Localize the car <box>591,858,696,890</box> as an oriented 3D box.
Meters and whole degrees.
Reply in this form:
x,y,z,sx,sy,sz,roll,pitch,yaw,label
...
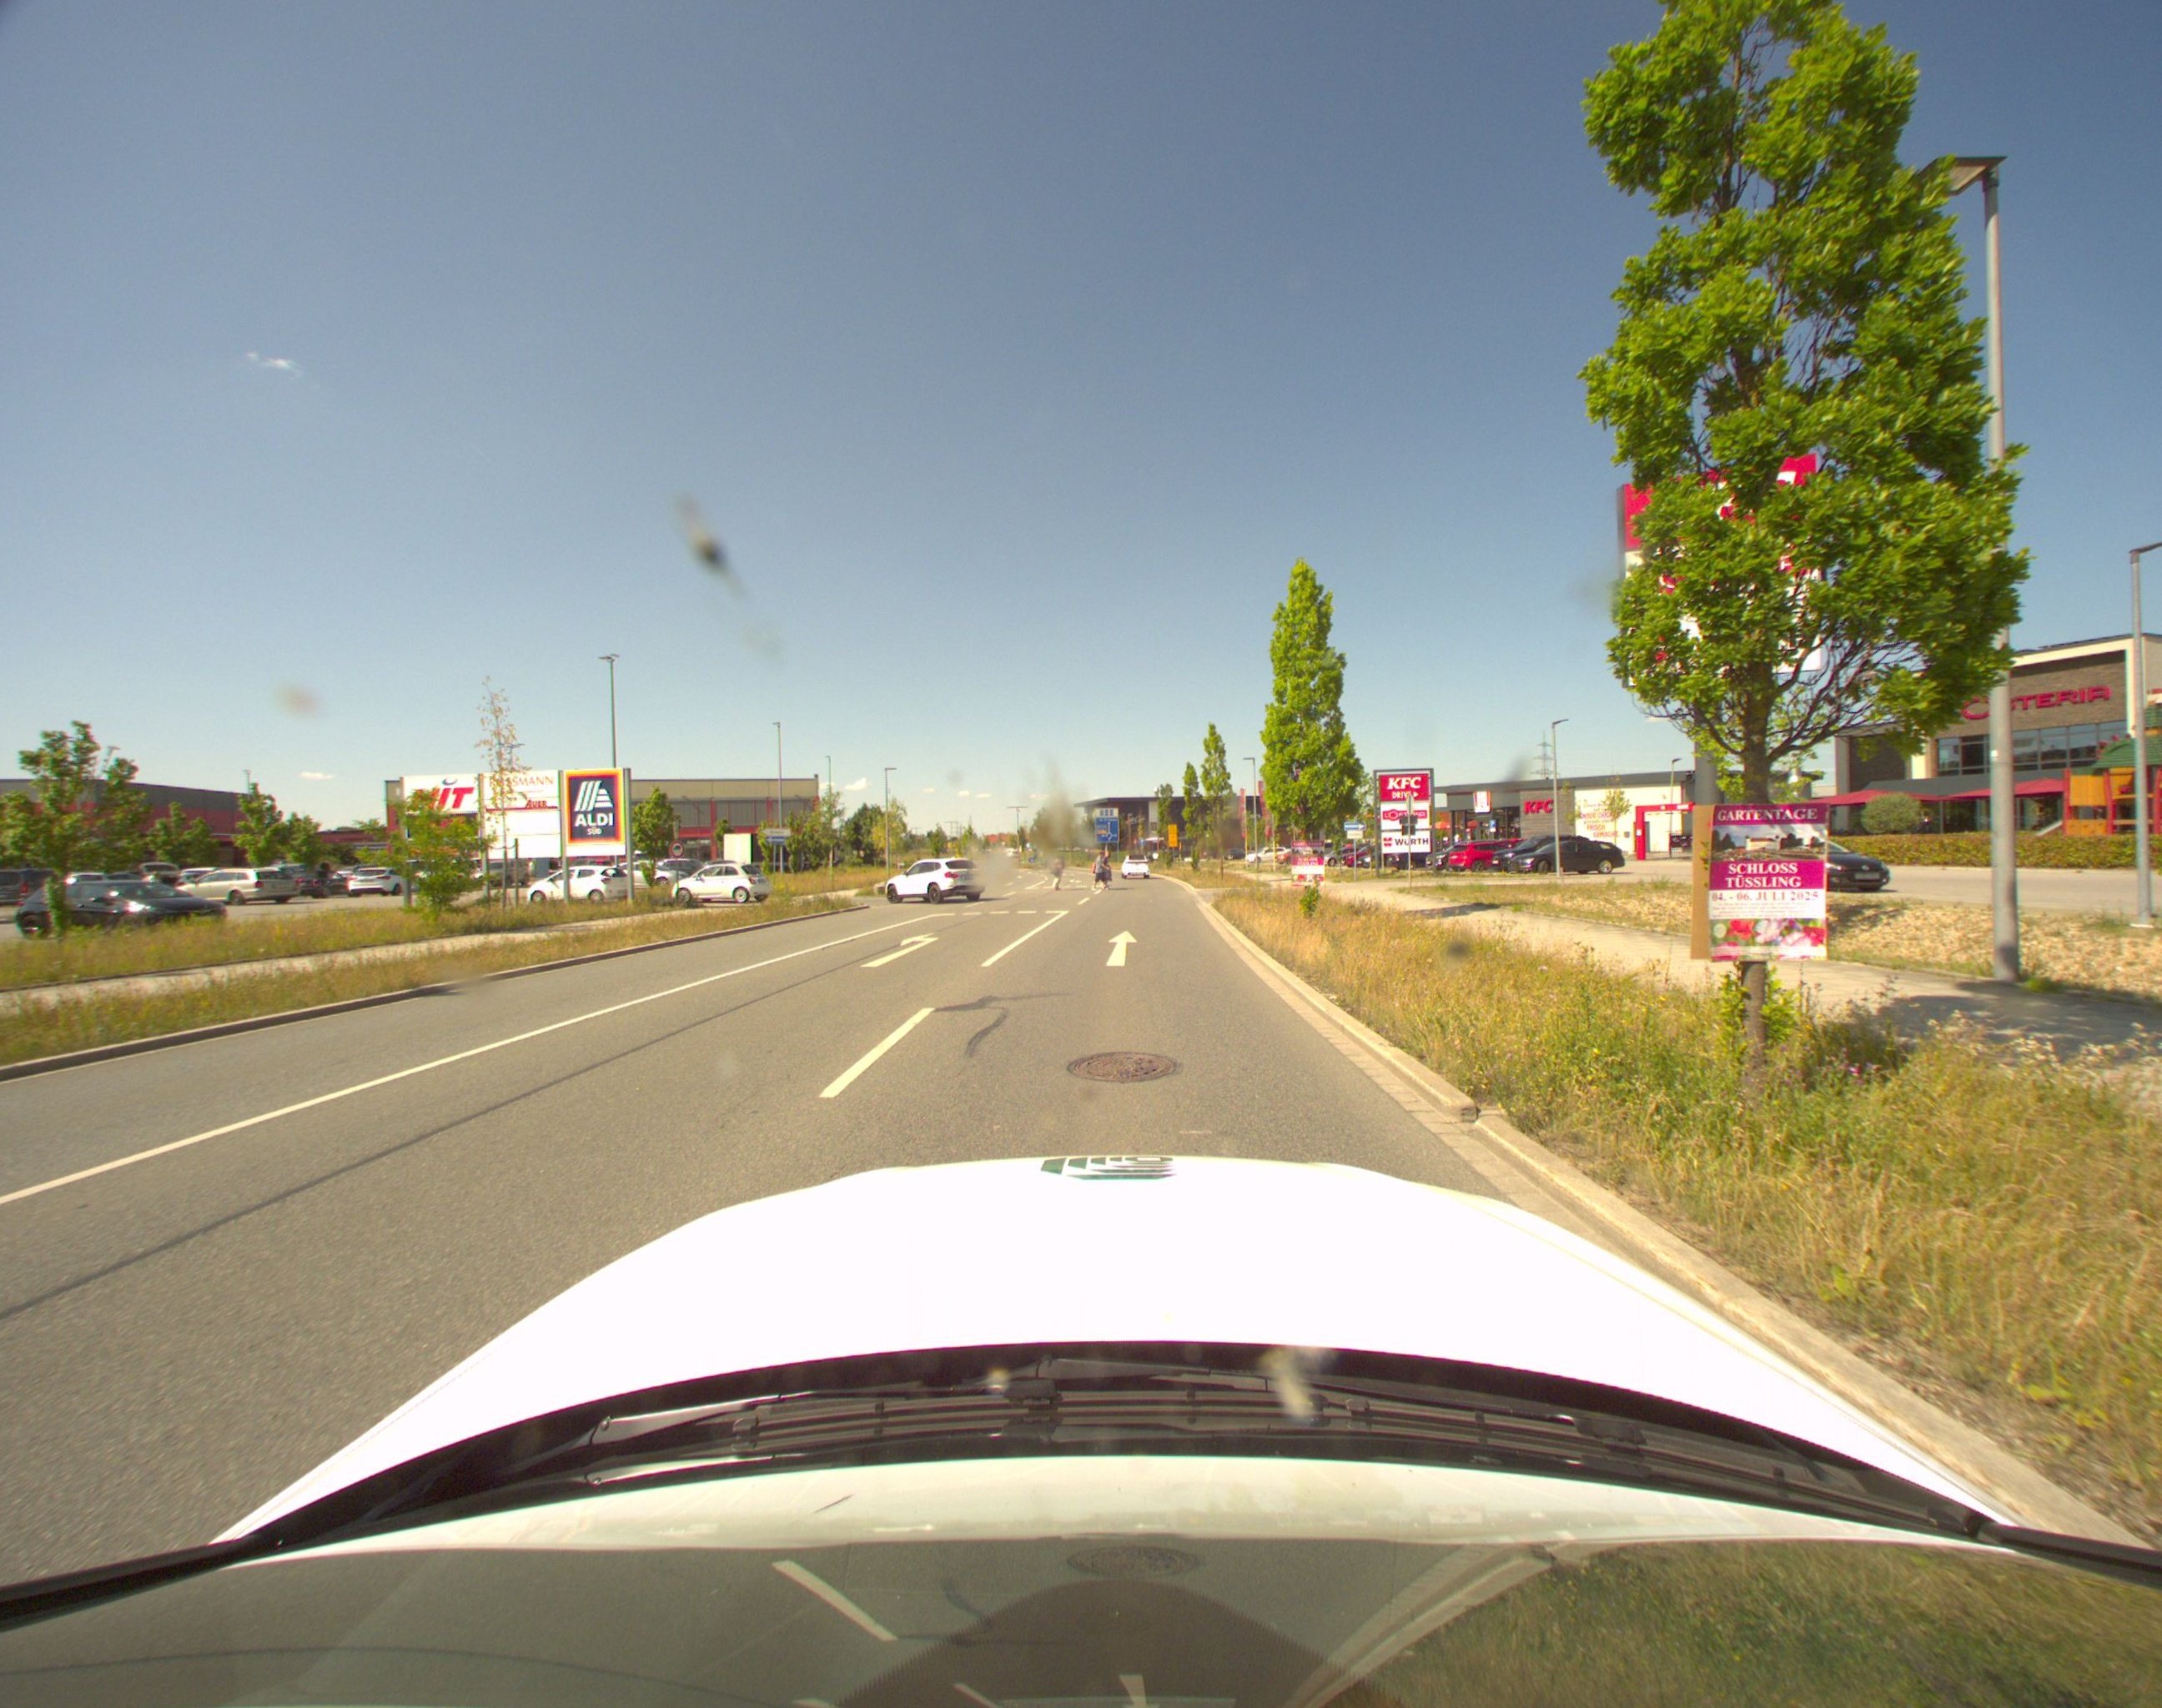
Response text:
x,y,z,sx,sy,sz,roll,pitch,yaw,label
-23.651,1.065,44.184,4.596,1.512,1.836,-2,0,-3,car

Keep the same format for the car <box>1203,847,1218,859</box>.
x,y,z,sx,sy,sz,roll,pitch,yaw,label
18.637,-0.157,116.981,1.780,1.604,4.014,-2,0,13,car

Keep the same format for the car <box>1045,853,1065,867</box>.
x,y,z,sx,sy,sz,roll,pitch,yaw,label
-2.899,0.675,88.757,1.617,1.434,3.778,-2,0,-11,car

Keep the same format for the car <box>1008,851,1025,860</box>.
x,y,z,sx,sy,sz,roll,pitch,yaw,label
-12.560,0.288,159.869,1.978,1.464,4.018,-2,0,17,car

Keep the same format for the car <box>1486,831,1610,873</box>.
x,y,z,sx,sy,sz,roll,pitch,yaw,label
22.590,-0.107,39.501,4.970,1.734,1.938,-3,1,-3,car

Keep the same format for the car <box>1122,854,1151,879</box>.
x,y,z,sx,sy,sz,roll,pitch,yaw,label
3.325,0.720,48.992,1.609,1.434,3.796,-2,0,4,car

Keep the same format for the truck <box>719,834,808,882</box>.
x,y,z,sx,sy,sz,roll,pitch,yaw,label
-24.512,0.278,63.323,2.299,3.464,7.526,-2,0,16,truck

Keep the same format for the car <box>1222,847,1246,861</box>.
x,y,z,sx,sy,sz,roll,pitch,yaw,label
17.428,-0.018,92.735,1.682,1.462,4.193,-2,0,25,car

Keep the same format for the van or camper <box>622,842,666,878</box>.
x,y,z,sx,sy,sz,roll,pitch,yaw,label
-42.400,0.542,79.210,2.436,3.271,7.191,-2,0,-18,van or camper

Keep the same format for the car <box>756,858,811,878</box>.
x,y,z,sx,sy,sz,roll,pitch,yaw,label
-26.228,1.216,71.964,4.373,1.552,1.829,-2,0,-14,car

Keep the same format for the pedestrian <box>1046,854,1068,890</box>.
x,y,z,sx,sy,sz,roll,pitch,yaw,label
-0.994,0.756,34.057,0.789,1.470,0.950,-1,0,3,pedestrian

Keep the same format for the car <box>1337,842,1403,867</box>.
x,y,z,sx,sy,sz,roll,pitch,yaw,label
21.433,0.038,60.453,4.146,1.665,1.866,-3,1,-4,car

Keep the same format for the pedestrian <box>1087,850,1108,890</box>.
x,y,z,sx,sy,sz,roll,pitch,yaw,label
0.700,0.654,33.842,0.805,1.628,0.867,-1,0,3,pedestrian

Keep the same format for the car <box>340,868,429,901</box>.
x,y,z,sx,sy,sz,roll,pitch,yaw,label
-35.634,1.527,41.819,1.836,1.512,4.357,-2,0,-17,car

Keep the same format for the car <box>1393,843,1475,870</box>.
x,y,z,sx,sy,sz,roll,pitch,yaw,label
21.579,0.171,49.984,4.373,1.449,1.799,-2,1,15,car

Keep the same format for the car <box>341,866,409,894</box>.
x,y,z,sx,sy,sz,roll,pitch,yaw,label
-48.680,1.772,56.274,1.836,1.773,4.357,-2,0,-17,car

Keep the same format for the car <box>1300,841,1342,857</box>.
x,y,z,sx,sy,sz,roll,pitch,yaw,label
26.843,-0.533,91.088,4.169,1.635,1.780,-2,0,-20,car

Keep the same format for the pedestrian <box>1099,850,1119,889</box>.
x,y,z,sx,sy,sz,roll,pitch,yaw,label
1.188,0.637,34.410,0.797,1.629,0.805,-1,0,3,pedestrian

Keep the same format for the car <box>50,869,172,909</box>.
x,y,z,sx,sy,sz,roll,pitch,yaw,label
-46.221,1.615,38.967,1.919,1.726,4.349,-2,0,-22,car

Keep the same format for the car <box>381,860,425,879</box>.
x,y,z,sx,sy,sz,roll,pitch,yaw,label
-60.468,1.384,72.720,1.666,1.586,4.057,-2,0,-19,car

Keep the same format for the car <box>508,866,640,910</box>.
x,y,z,sx,sy,sz,roll,pitch,yaw,label
-19.751,1.312,31.855,3.968,1.547,1.920,-2,0,5,car

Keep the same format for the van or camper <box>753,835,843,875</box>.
x,y,z,sx,sy,sz,roll,pitch,yaw,label
-26.439,0.083,76.425,7.700,3.468,2.544,-2,0,-13,van or camper

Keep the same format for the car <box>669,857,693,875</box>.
x,y,z,sx,sy,sz,roll,pitch,yaw,label
-39.542,1.184,80.585,1.666,1.671,4.056,-2,0,-20,car

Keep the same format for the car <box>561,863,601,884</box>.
x,y,z,sx,sy,sz,roll,pitch,yaw,label
-40.153,1.538,65.521,1.838,1.562,4.353,-2,0,-19,car

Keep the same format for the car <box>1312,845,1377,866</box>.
x,y,z,sx,sy,sz,roll,pitch,yaw,label
21.058,0.093,65.121,4.552,1.490,1.864,-3,1,-8,car

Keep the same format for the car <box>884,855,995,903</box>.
x,y,z,sx,sy,sz,roll,pitch,yaw,label
-5.113,0.854,29.135,1.928,1.547,4.175,-2,0,-42,car

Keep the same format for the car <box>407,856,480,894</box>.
x,y,z,sx,sy,sz,roll,pitch,yaw,label
-37.215,1.196,47.675,1.836,2.065,4.357,-2,0,-17,car

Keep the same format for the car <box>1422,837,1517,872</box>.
x,y,z,sx,sy,sz,roll,pitch,yaw,label
21.630,0.035,45.460,4.392,1.734,1.791,-3,1,-1,car

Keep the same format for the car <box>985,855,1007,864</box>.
x,y,z,sx,sy,sz,roll,pitch,yaw,label
-14.819,0.919,142.013,1.975,1.440,4.024,-2,0,25,car

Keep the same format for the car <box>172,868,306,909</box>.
x,y,z,sx,sy,sz,roll,pitch,yaw,label
-35.134,1.409,34.021,3.965,1.547,1.844,-2,0,7,car

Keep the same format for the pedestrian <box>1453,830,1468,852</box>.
x,y,z,sx,sy,sz,roll,pitch,yaw,label
35.620,-1.192,76.424,0.914,2.013,0.887,-2,0,-15,pedestrian

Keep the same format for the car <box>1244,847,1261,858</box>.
x,y,z,sx,sy,sz,roll,pitch,yaw,label
25.097,-0.268,119.013,1.777,1.513,4.022,-2,0,22,car

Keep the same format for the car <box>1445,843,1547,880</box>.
x,y,z,sx,sy,sz,roll,pitch,yaw,label
21.651,0.376,42.559,4.391,1.734,1.791,-3,1,0,car

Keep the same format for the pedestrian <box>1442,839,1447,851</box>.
x,y,z,sx,sy,sz,roll,pitch,yaw,label
38.076,-0.917,85.296,0.380,1.240,0.290,-2,0,-20,pedestrian

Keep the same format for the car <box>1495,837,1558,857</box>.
x,y,z,sx,sy,sz,roll,pitch,yaw,label
36.199,-0.559,66.169,4.569,1.431,1.857,-3,1,-19,car

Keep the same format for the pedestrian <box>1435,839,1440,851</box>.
x,y,z,sx,sy,sz,roll,pitch,yaw,label
37.289,-0.899,85.168,0.380,1.240,0.290,-2,0,-20,pedestrian

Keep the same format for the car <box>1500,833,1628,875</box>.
x,y,z,sx,sy,sz,roll,pitch,yaw,label
20.979,-0.001,35.481,4.395,1.566,1.993,-3,1,-3,car

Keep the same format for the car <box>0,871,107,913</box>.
x,y,z,sx,sy,sz,roll,pitch,yaw,label
-48.430,1.725,37.968,1.918,1.793,4.351,-2,0,-21,car

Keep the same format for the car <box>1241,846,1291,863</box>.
x,y,z,sx,sy,sz,roll,pitch,yaw,label
18.725,0.047,82.408,4.528,1.490,1.861,-2,1,-12,car

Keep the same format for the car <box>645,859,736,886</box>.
x,y,z,sx,sy,sz,roll,pitch,yaw,label
-23.690,1.113,49.466,4.565,1.458,1.836,-2,0,-3,car

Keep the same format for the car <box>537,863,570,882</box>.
x,y,z,sx,sy,sz,roll,pitch,yaw,label
-49.304,1.706,76.201,1.666,1.615,4.056,-2,0,-20,car

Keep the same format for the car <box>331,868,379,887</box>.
x,y,z,sx,sy,sz,roll,pitch,yaw,label
-64.004,2.066,71.883,1.666,1.577,4.057,-2,0,-19,car

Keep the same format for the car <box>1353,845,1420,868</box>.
x,y,z,sx,sy,sz,roll,pitch,yaw,label
21.755,0.160,58.053,4.154,1.449,1.785,-3,1,-10,car

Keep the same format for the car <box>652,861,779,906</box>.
x,y,z,sx,sy,sz,roll,pitch,yaw,label
-13.976,1.123,31.270,3.969,1.547,1.920,-2,0,4,car

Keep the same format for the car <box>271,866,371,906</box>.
x,y,z,sx,sy,sz,roll,pitch,yaw,label
-38.449,1.575,41.330,1.916,1.803,4.357,-2,0,-17,car

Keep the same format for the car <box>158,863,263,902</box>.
x,y,z,sx,sy,sz,roll,pitch,yaw,label
-48.030,1.519,45.101,1.836,2.024,4.607,-2,0,-17,car

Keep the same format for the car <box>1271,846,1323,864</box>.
x,y,z,sx,sy,sz,roll,pitch,yaw,label
19.874,0.077,74.999,4.207,1.490,1.862,-2,1,-12,car

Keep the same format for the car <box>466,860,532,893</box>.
x,y,z,sx,sy,sz,roll,pitch,yaw,label
-34.737,1.309,48.723,1.836,1.823,4.357,-2,0,-17,car

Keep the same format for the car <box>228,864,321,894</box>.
x,y,z,sx,sy,sz,roll,pitch,yaw,label
-45.456,1.372,46.037,1.836,1.582,4.357,-2,0,-17,car

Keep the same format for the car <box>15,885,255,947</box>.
x,y,z,sx,sy,sz,roll,pitch,yaw,label
-24.912,1.605,21.563,4.127,1.348,1.938,-2,0,2,car

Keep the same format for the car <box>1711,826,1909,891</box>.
x,y,z,sx,sy,sz,roll,pitch,yaw,label
19.388,0.100,21.958,1.772,1.540,4.173,-2,0,4,car

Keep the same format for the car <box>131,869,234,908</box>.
x,y,z,sx,sy,sz,roll,pitch,yaw,label
-43.961,1.619,39.970,1.922,1.718,4.343,-2,0,-27,car
